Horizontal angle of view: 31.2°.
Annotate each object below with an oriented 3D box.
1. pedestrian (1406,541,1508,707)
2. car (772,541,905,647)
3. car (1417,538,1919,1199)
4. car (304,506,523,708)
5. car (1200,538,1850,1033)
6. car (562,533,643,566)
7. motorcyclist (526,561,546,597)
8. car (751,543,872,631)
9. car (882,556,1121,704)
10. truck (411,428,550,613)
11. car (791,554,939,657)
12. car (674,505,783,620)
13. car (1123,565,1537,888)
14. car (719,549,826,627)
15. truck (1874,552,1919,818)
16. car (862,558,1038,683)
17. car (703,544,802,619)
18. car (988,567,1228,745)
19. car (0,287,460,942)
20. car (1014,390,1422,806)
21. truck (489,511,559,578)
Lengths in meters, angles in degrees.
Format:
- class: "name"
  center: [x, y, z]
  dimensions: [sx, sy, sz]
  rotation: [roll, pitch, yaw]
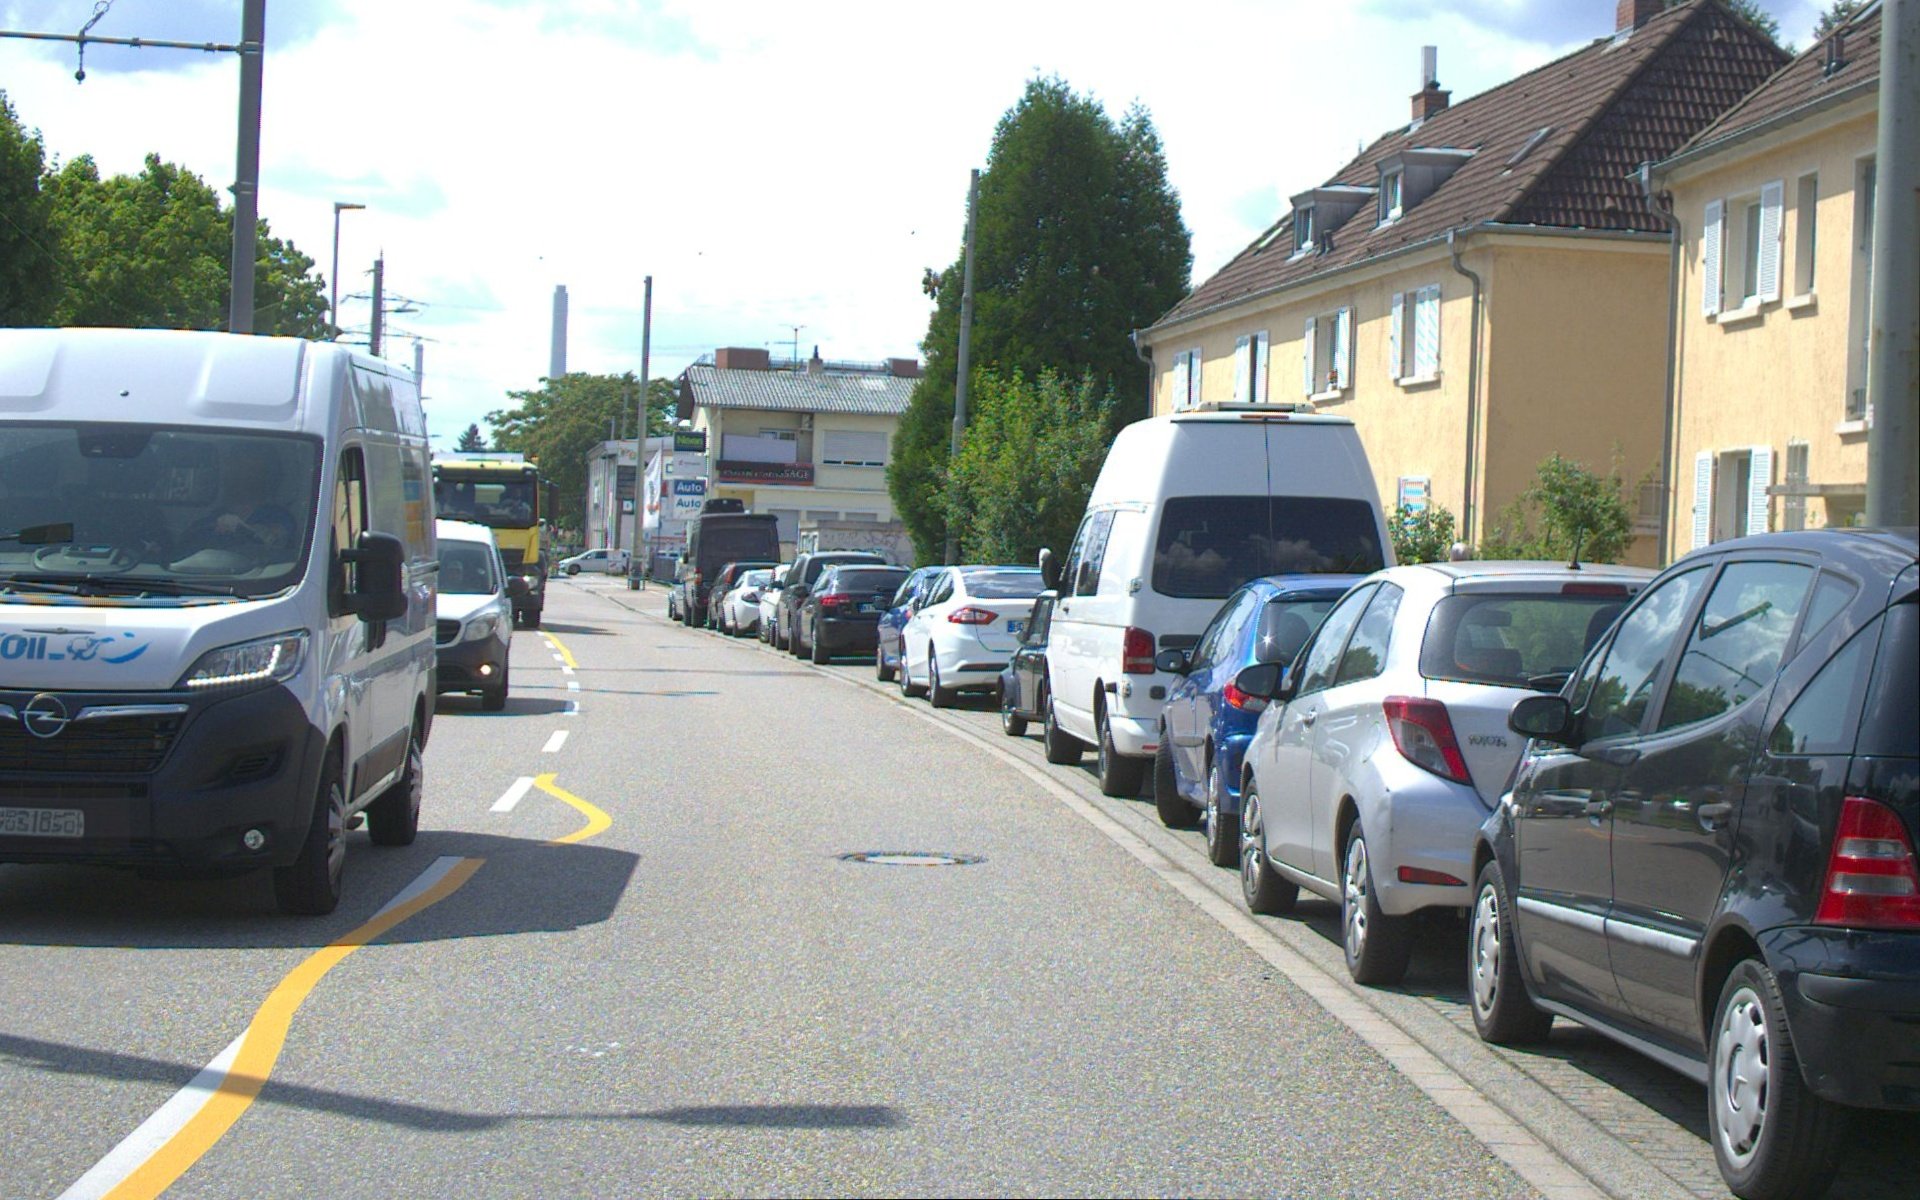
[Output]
- class: "pedestrian"
  center: [5.075, 0.236, 35.146]
  dimensions: [0.853, 1.646, 0.637]
  rotation: [3, 1, -2]
- class: "car"
  center: [-2.003, -0.131, 55.647]
  dimensions: [1.763, 1.637, 4.001]
  rotation: [0, 1, -8]
- class: "car"
  center: [2.515, 0.668, 9.365]
  dimensions: [1.636, 1.597, 3.932]
  rotation: [2, 1, -5]
- class: "car"
  center: [-5.251, 0.023, 33.478]
  dimensions: [1.734, 1.767, 4.309]
  rotation: [2, 1, -5]
- class: "car"
  center: [2.038, 0.591, 13.536]
  dimensions: [1.636, 1.597, 4.030]
  rotation: [2, 1, -3]
- class: "car"
  center: [-21.567, -3.064, 207.485]
  dimensions: [4.640, 1.816, 1.836]
  rotation: [2, 1, -12]
- class: "motorcyclist"
  center: [-20.308, -1.022, 164.736]
  dimensions: [0.883, 1.662, 1.109]
  rotation: [2, 1, -9]
- class: "car"
  center: [-2.646, -0.247, 60.519]
  dimensions: [1.763, 1.472, 4.001]
  rotation: [0, 1, -8]
- class: "car"
  center: [0.365, 0.288, 36.338]
  dimensions: [1.798, 1.453, 4.766]
  rotation: [0, 0, -8]
- class: "truck"
  center: [-9.512, -1.556, 68.050]
  dimensions: [2.559, 3.447, 7.152]
  rotation: [0, 1, -8]
- class: "car"
  center: [-1.442, 0.054, 50.544]
  dimensions: [1.763, 1.412, 4.001]
  rotation: [0, 1, -8]
- class: "car"
  center: [-5.284, -0.871, 77.833]
  dimensions: [1.959, 2.470, 6.061]
  rotation: [0, 1, -9]
- class: "car"
  center: [1.845, 0.584, 18.167]
  dimensions: [1.536, 1.440, 3.738]
  rotation: [2, 1, -3]
- class: "car"
  center: [-3.660, -0.254, 66.675]
  dimensions: [1.763, 1.435, 4.001]
  rotation: [0, 1, -8]
- class: "truck"
  center: [6.771, 0.561, 21.378]
  dimensions: [1.346, 1.683, 2.441]
  rotation: [2, 0, -3]
- class: "car"
  center: [-0.167, 0.214, 41.733]
  dimensions: [1.620, 1.412, 4.001]
  rotation: [0, 1, -8]
- class: "car"
  center: [-4.359, -0.410, 71.807]
  dimensions: [1.763, 1.497, 4.001]
  rotation: [0, 1, -8]
- class: "car"
  center: [1.171, 0.426, 28.400]
  dimensions: [1.341, 1.336, 3.289]
  rotation: [2, 0, -8]
- class: "car"
  center: [-3.619, 0.005, 15.809]
  dimensions: [2.102, 2.435, 5.572]
  rotation: [2, 1, -4]
- class: "car"
  center: [1.608, -0.047, 23.521]
  dimensions: [1.929, 2.472, 5.518]
  rotation: [1, 1, -4]
- class: "truck"
  center: [-23.732, -2.984, 186.830]
  dimensions: [3.220, 3.390, 11.357]
  rotation: [2, 0, -10]
